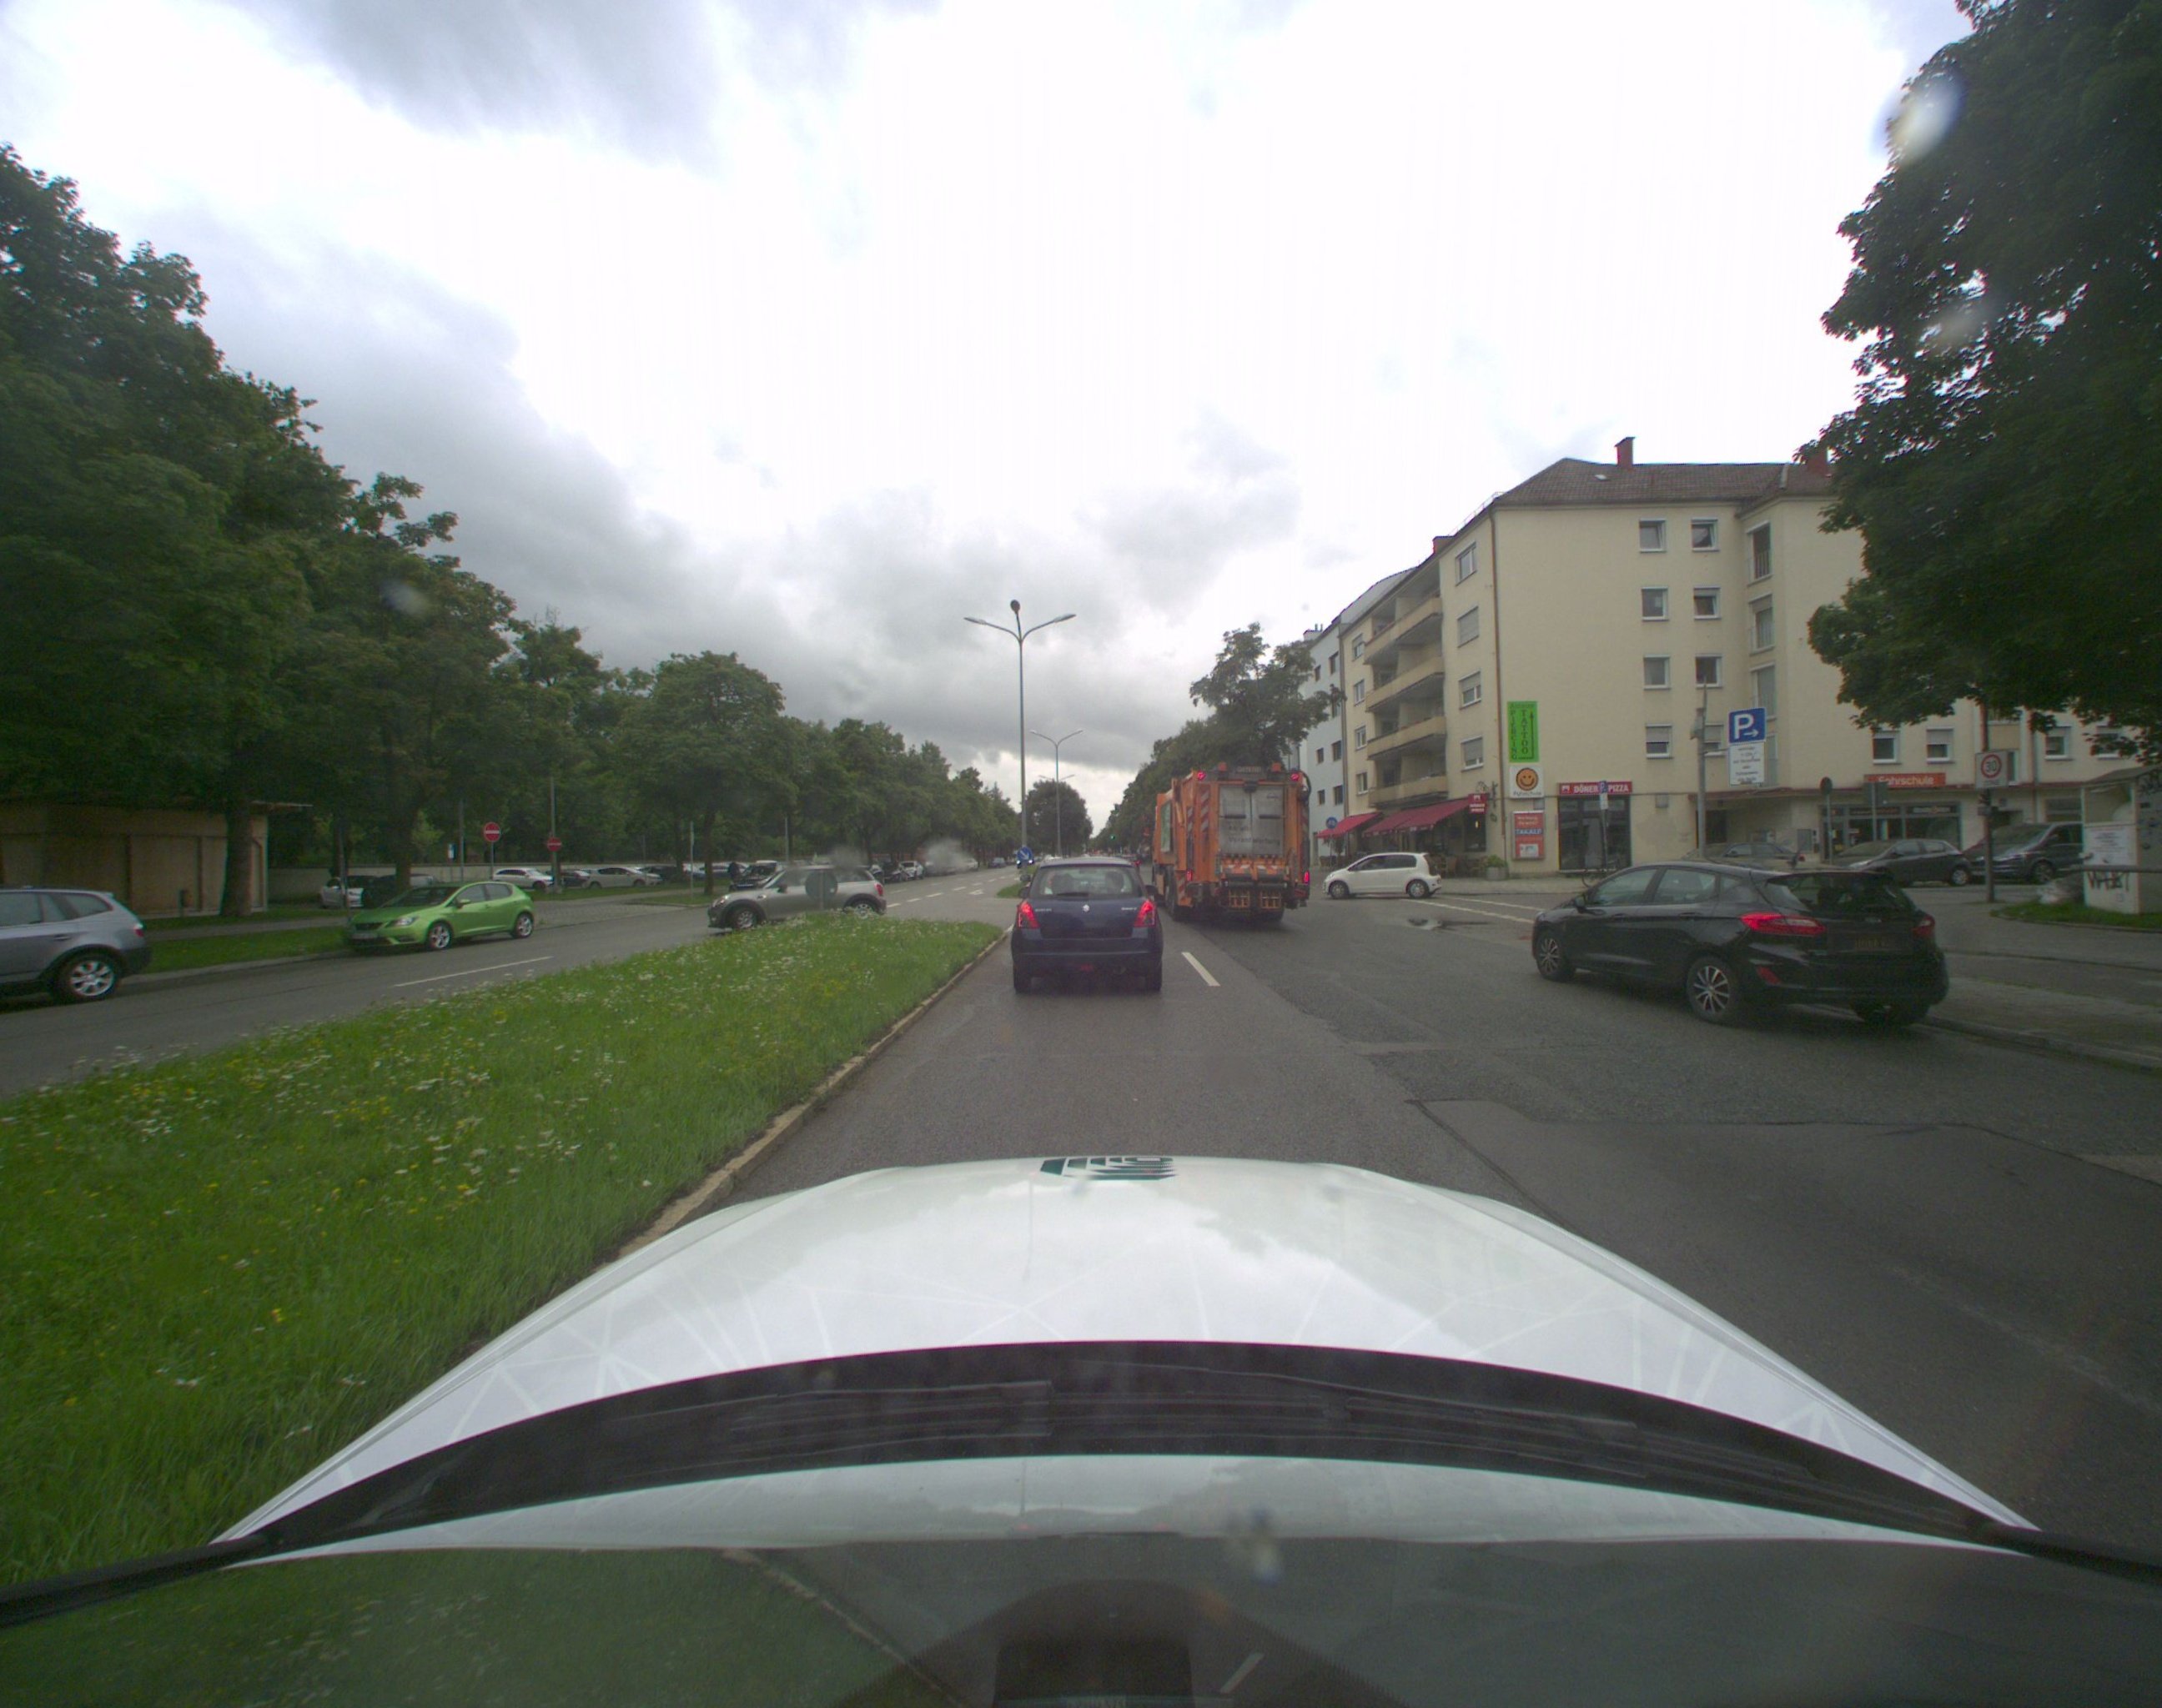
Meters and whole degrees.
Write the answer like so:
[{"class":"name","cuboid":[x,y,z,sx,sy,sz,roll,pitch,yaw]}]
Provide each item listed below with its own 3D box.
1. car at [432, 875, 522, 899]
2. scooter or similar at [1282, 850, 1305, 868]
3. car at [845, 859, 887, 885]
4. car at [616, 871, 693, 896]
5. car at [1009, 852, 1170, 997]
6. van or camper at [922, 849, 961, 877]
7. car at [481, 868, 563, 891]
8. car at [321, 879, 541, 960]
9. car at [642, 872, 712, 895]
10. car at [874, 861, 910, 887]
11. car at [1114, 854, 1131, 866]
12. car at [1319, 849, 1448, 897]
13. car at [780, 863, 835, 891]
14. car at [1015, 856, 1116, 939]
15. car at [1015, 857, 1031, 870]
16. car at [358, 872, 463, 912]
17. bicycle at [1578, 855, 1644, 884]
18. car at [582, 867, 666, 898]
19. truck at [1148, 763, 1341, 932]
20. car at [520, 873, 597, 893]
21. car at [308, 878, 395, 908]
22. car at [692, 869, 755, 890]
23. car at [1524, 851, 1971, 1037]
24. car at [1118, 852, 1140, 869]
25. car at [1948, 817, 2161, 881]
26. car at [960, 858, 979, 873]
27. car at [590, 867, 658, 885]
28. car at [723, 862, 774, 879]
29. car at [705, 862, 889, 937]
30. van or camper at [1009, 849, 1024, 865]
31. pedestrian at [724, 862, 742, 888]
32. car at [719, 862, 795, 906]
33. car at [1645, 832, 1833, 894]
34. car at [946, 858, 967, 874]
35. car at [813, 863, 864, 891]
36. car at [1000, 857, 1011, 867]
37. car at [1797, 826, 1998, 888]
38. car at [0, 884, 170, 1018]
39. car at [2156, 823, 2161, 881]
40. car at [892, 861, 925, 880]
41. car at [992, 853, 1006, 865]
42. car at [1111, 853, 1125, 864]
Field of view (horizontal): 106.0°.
[{"class":"car","cuboid":[-39.693,2.145,53.557,4.672,1.445,1.674,-1,0,2]},{"class":"scooter or similar","cuboid":[15.978,0.349,61.372,1.029,1.307,2.756,-2,0,2]},{"class":"car","cuboid":[-13.437,1.107,51.016,1.585,1.558,3.879,-1,0,0]},{"class":"car","cuboid":[-26.377,1.793,50.418,3.859,1.445,1.670,-1,0,-5]},{"class":"car","cuboid":[0.093,0.737,10.563,1.677,1.502,3.918,-1,0,0]},{"class":"van or camper","cuboid":[-13.067,0.800,76.915,2.109,2.482,7.452,-1,0,2]},{"class":"car","cuboid":[-38.584,1.741,56.259,4.489,1.476,1.673,-1,-1,1]},{"class":"car","cuboid":[-14.195,1.363,18.110,1.541,1.409,3.883,-3,0,4]},{"class":"car","cuboid":[-27.011,1.935,54.523,3.859,1.445,1.670,-1,0,-5]},{"class":"car","cuboid":[-13.267,1.362,57.392,1.627,1.741,3.879,-1,0,0]},{"class":"car","cuboid":[4.828,0.690,95.215,1.726,1.432,4.439,0,0,-2]},{"class":"car","cuboid":[9.707,0.619,26.140,3.514,1.417,1.884,-2,0,33]},{"class":"car","cuboid":[-13.652,1.106,40.866,1.585,1.312,3.380,-1,0,0]},{"class":"car","cuboid":[-0.392,0.808,16.695,1.445,1.483,3.092,-1,0,-13]},{"class":"car","cuboid":[-6.974,1.089,97.638,1.627,1.552,3.879,-1,0,0]},{"class":"car","cuboid":[-26.686,1.458,32.373,4.363,1.445,1.973,-1,-1,33]},{"class":"bicycle","cuboid":[17.649,0.518,27.154,1.842,0.957,0.557,-1,-1,-1]},{"class":"car","cuboid":[-26.660,1.634,47.556,3.911,1.718,1.670,-1,0,-5]},{"class":"truck","cuboid":[3.501,-0.138,20.114,3.028,3.189,9.134,-1,0,1]},{"class":"car","cuboid":[-39.093,2.173,60.934,4.674,1.445,1.673,-1,0,1]},{"class":"car","cuboid":[-31.503,1.654,35.123,4.363,1.201,1.683,-1,-1,33]},{"class":"car","cuboid":[-26.310,1.866,60.031,3.859,1.445,1.670,-1,0,-5]},{"class":"car","cuboid":[6.302,0.724,8.316,1.611,1.465,3.675,0,0,1]},{"class":"car","cuboid":[4.074,0.553,69.889,1.752,1.413,4.463,0,0,1]},{"class":"car","cuboid":[30.404,-0.161,25.413,4.721,1.773,1.871,-2,0,-1]},{"class":"car","cuboid":[-12.645,1.281,92.438,1.627,1.583,3.879,-1,0,0]},{"class":"car","cuboid":[-37.576,1.810,67.044,4.674,1.445,1.673,-1,0,1]},{"class":"car","cuboid":[-29.450,1.411,72.196,3.859,1.445,1.670,-1,0,-5]},{"class":"car","cuboid":[-6.291,0.964,18.341,3.731,1.463,1.677,-1,0,-18]},{"class":"van or camper","cuboid":[-13.676,0.693,173.686,2.552,3.296,6.937,-1,0,0]},{"class":"pedestrian","cuboid":[-20.415,1.237,47.786,0.725,1.534,0.721,-1,-1,1]},{"class":"car","cuboid":[-13.943,1.249,35.306,1.711,1.741,3.879,-1,0,0]},{"class":"car","cuboid":[20.104,0.263,24.994,4.384,1.661,1.869,-2,0,-4]},{"class":"car","cuboid":[-12.944,1.255,84.791,1.627,1.583,3.879,-1,0,0]},{"class":"car","cuboid":[-13.523,1.243,45.575,1.662,1.445,3.879,-1,0,0]},{"class":"car","cuboid":[-13.518,1.417,145.584,1.627,1.583,3.879,-1,0,0]},{"class":"car","cuboid":[24.932,0.097,24.983,4.382,1.661,1.870,-2,0,-2]},{"class":"car","cuboid":[-14.354,1.293,9.838,1.685,1.586,4.370,-3,0,0]},{"class":"car","cuboid":[33.456,-0.044,22.754,4.714,1.661,1.869,0,0,-3]},{"class":"car","cuboid":[-13.259,1.243,62.728,1.627,1.431,3.879,-1,0,0]},{"class":"car","cuboid":[-11.584,0.698,115.462,1.627,1.583,3.879,-1,0,0]},{"class":"car","cuboid":[4.738,0.626,105.417,1.676,1.383,3.919,0,0,1]}]
